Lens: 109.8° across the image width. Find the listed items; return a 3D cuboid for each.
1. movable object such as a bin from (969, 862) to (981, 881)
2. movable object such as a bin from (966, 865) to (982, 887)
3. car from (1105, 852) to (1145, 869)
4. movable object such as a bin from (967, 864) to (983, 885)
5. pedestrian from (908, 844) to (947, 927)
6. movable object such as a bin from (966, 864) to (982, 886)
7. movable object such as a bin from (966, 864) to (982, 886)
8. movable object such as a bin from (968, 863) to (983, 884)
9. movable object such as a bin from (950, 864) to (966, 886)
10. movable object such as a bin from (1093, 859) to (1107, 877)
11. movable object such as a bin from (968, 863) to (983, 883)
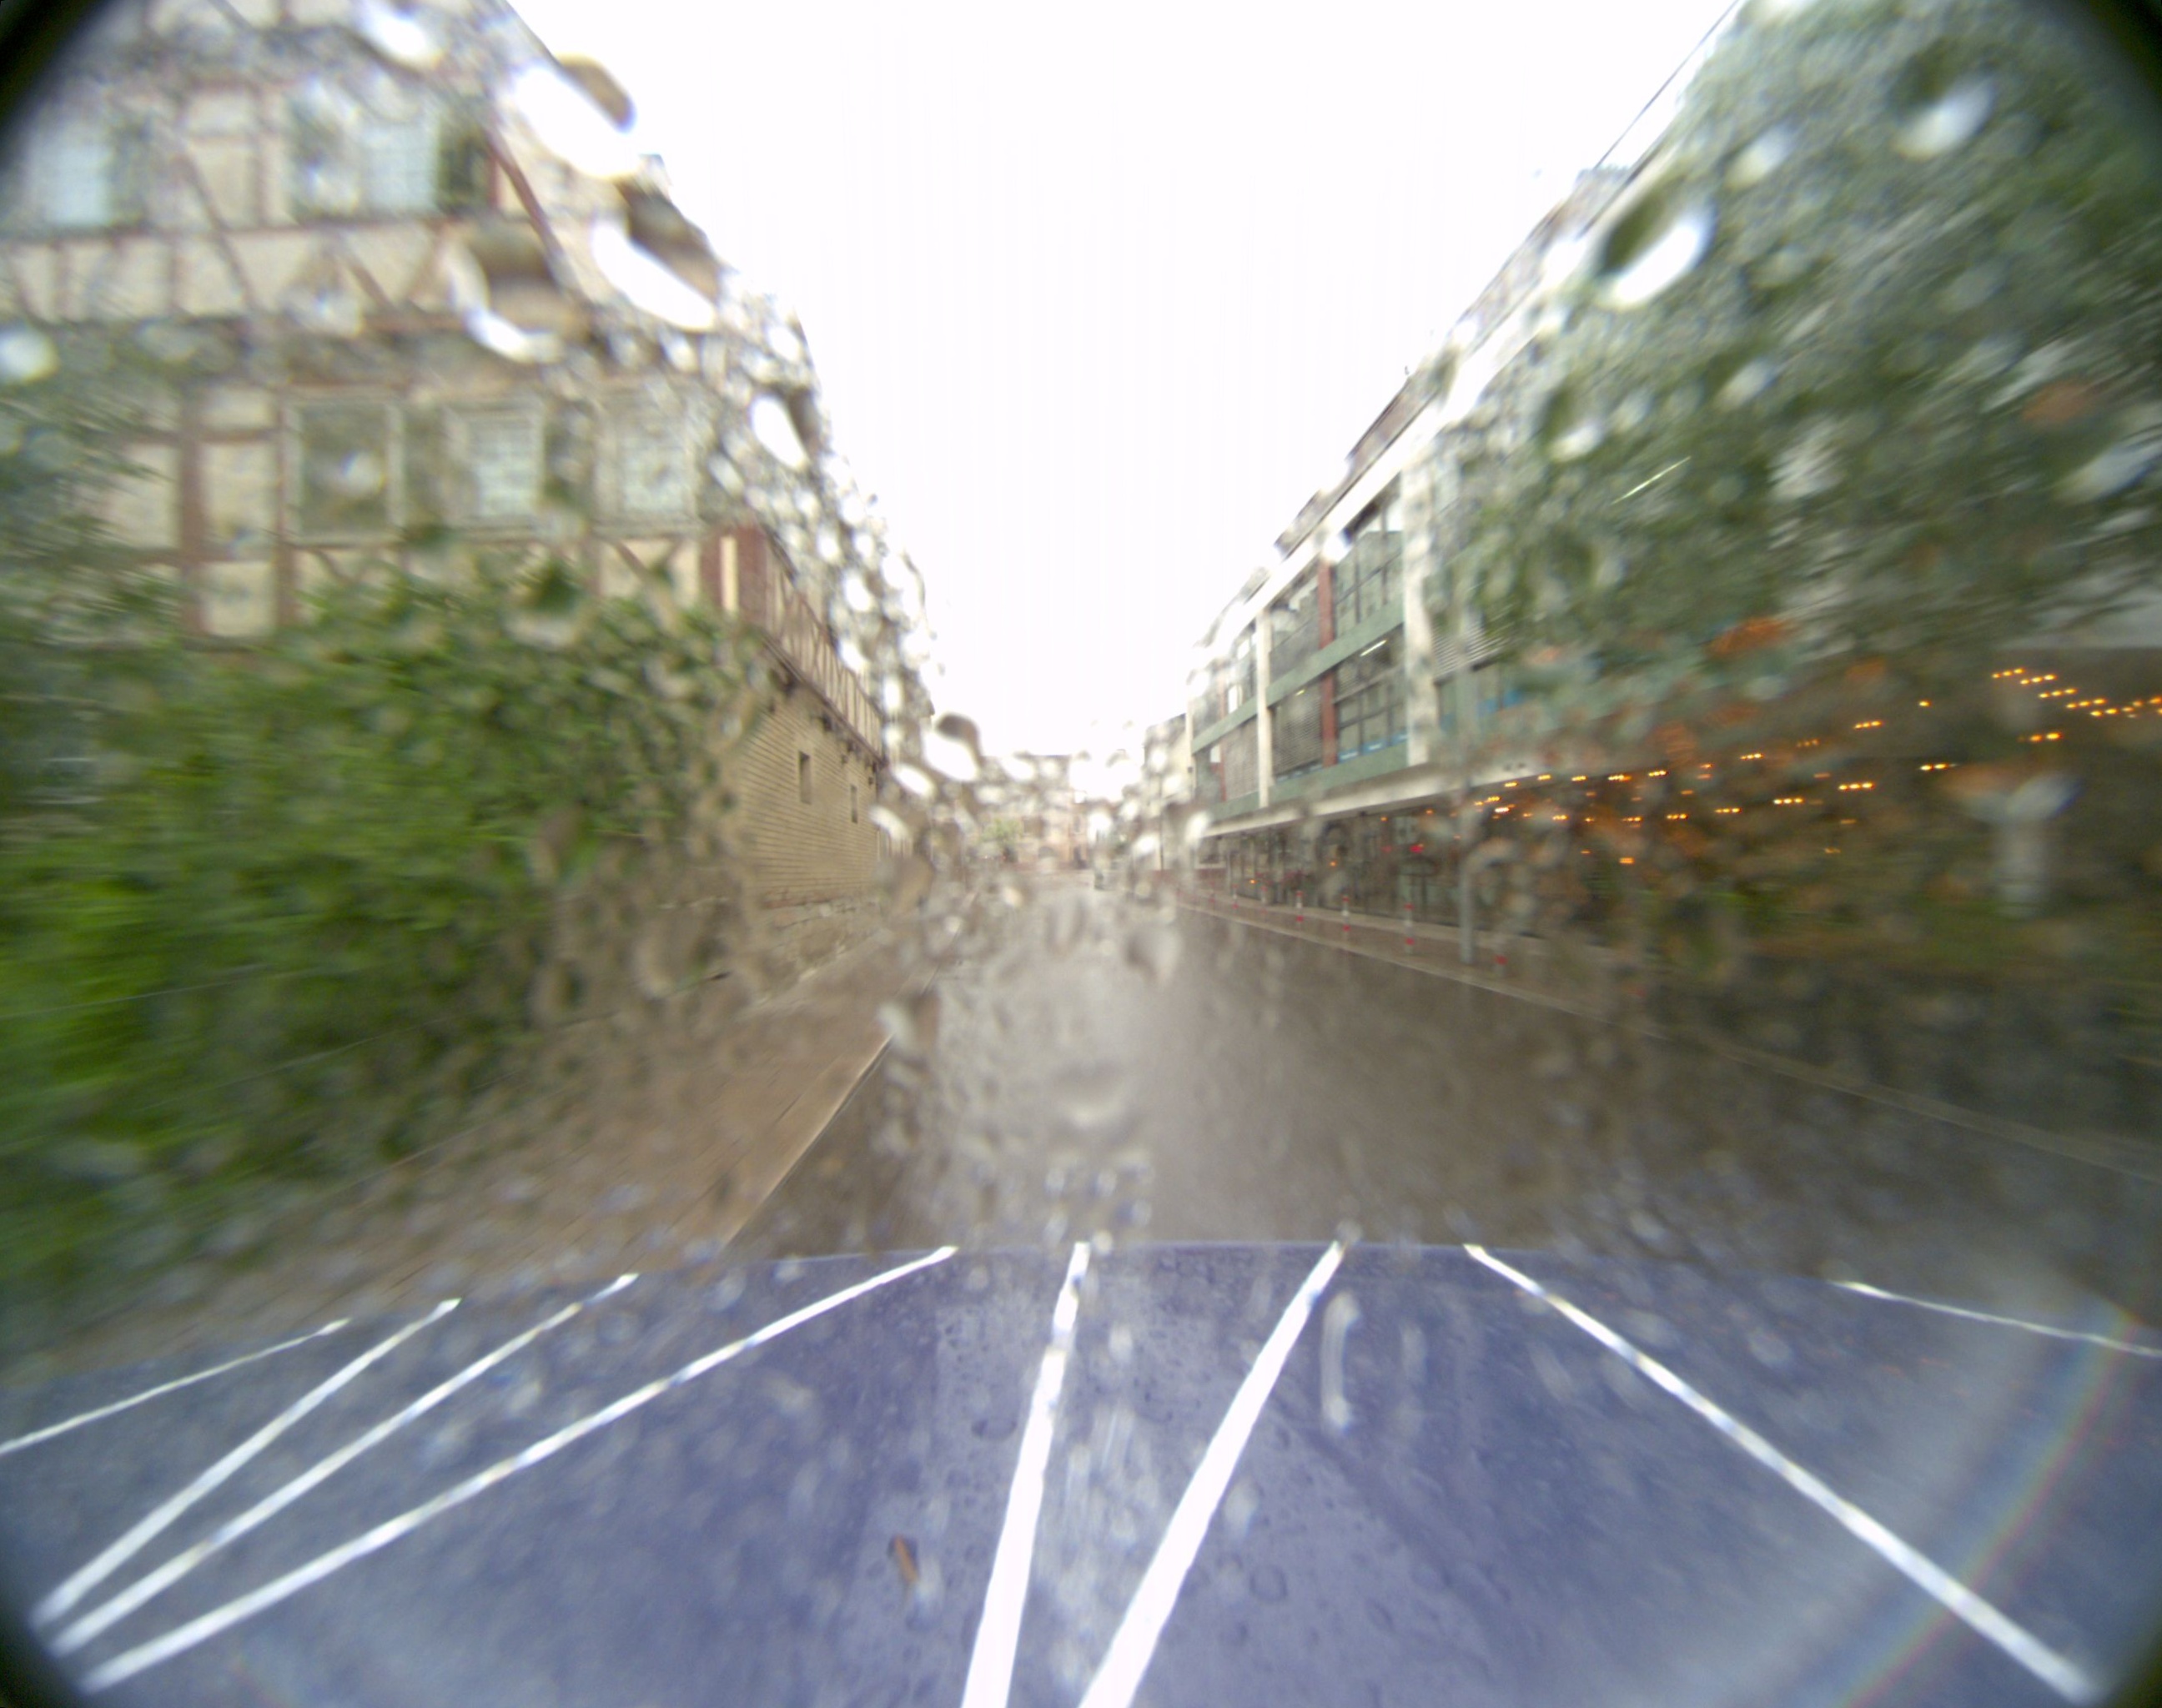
[{"bbox_3d":[-6.089,0.983,43.744,0.665,1.089,0.550,0,1,-8],"label":"movable object such as a bin"},{"bbox_3d":[-5.315,1.086,37.624,0.768,1.089,0.581,0,1,-7],"label":"movable object such as a bin"},{"bbox_3d":[5.229,0.804,90.614,4.481,2.002,2.002,1,0,10],"label":"car"},{"bbox_3d":[-5.516,1.054,39.570,0.768,1.089,0.581,0,1,-7],"label":"movable object such as a bin"},{"bbox_3d":[-3.550,0.723,17.650,0.813,1.874,0.907,1,0,-8],"label":"pedestrian"},{"bbox_3d":[-5.402,1.073,38.363,0.768,1.089,0.581,0,1,-7],"label":"movable object such as a bin"},{"bbox_3d":[-5.472,1.066,38.951,0.768,1.089,0.581,0,1,-7],"label":"movable object such as a bin"},{"bbox_3d":[-5.653,1.054,40.765,0.768,1.089,0.581,0,1,-7],"label":"movable object such as a bin"},{"bbox_3d":[-6.148,1.062,38.089,0.768,1.089,0.626,0,1,-7],"label":"movable object such as a bin"},{"bbox_3d":[1.177,0.890,47.441,0.689,1.075,0.760,-4,2,-8],"label":"movable object such as a bin"},{"bbox_3d":[-5.735,1.047,41.359,0.768,1.089,0.581,0,1,-7],"label":"movable object such as a bin"}]
